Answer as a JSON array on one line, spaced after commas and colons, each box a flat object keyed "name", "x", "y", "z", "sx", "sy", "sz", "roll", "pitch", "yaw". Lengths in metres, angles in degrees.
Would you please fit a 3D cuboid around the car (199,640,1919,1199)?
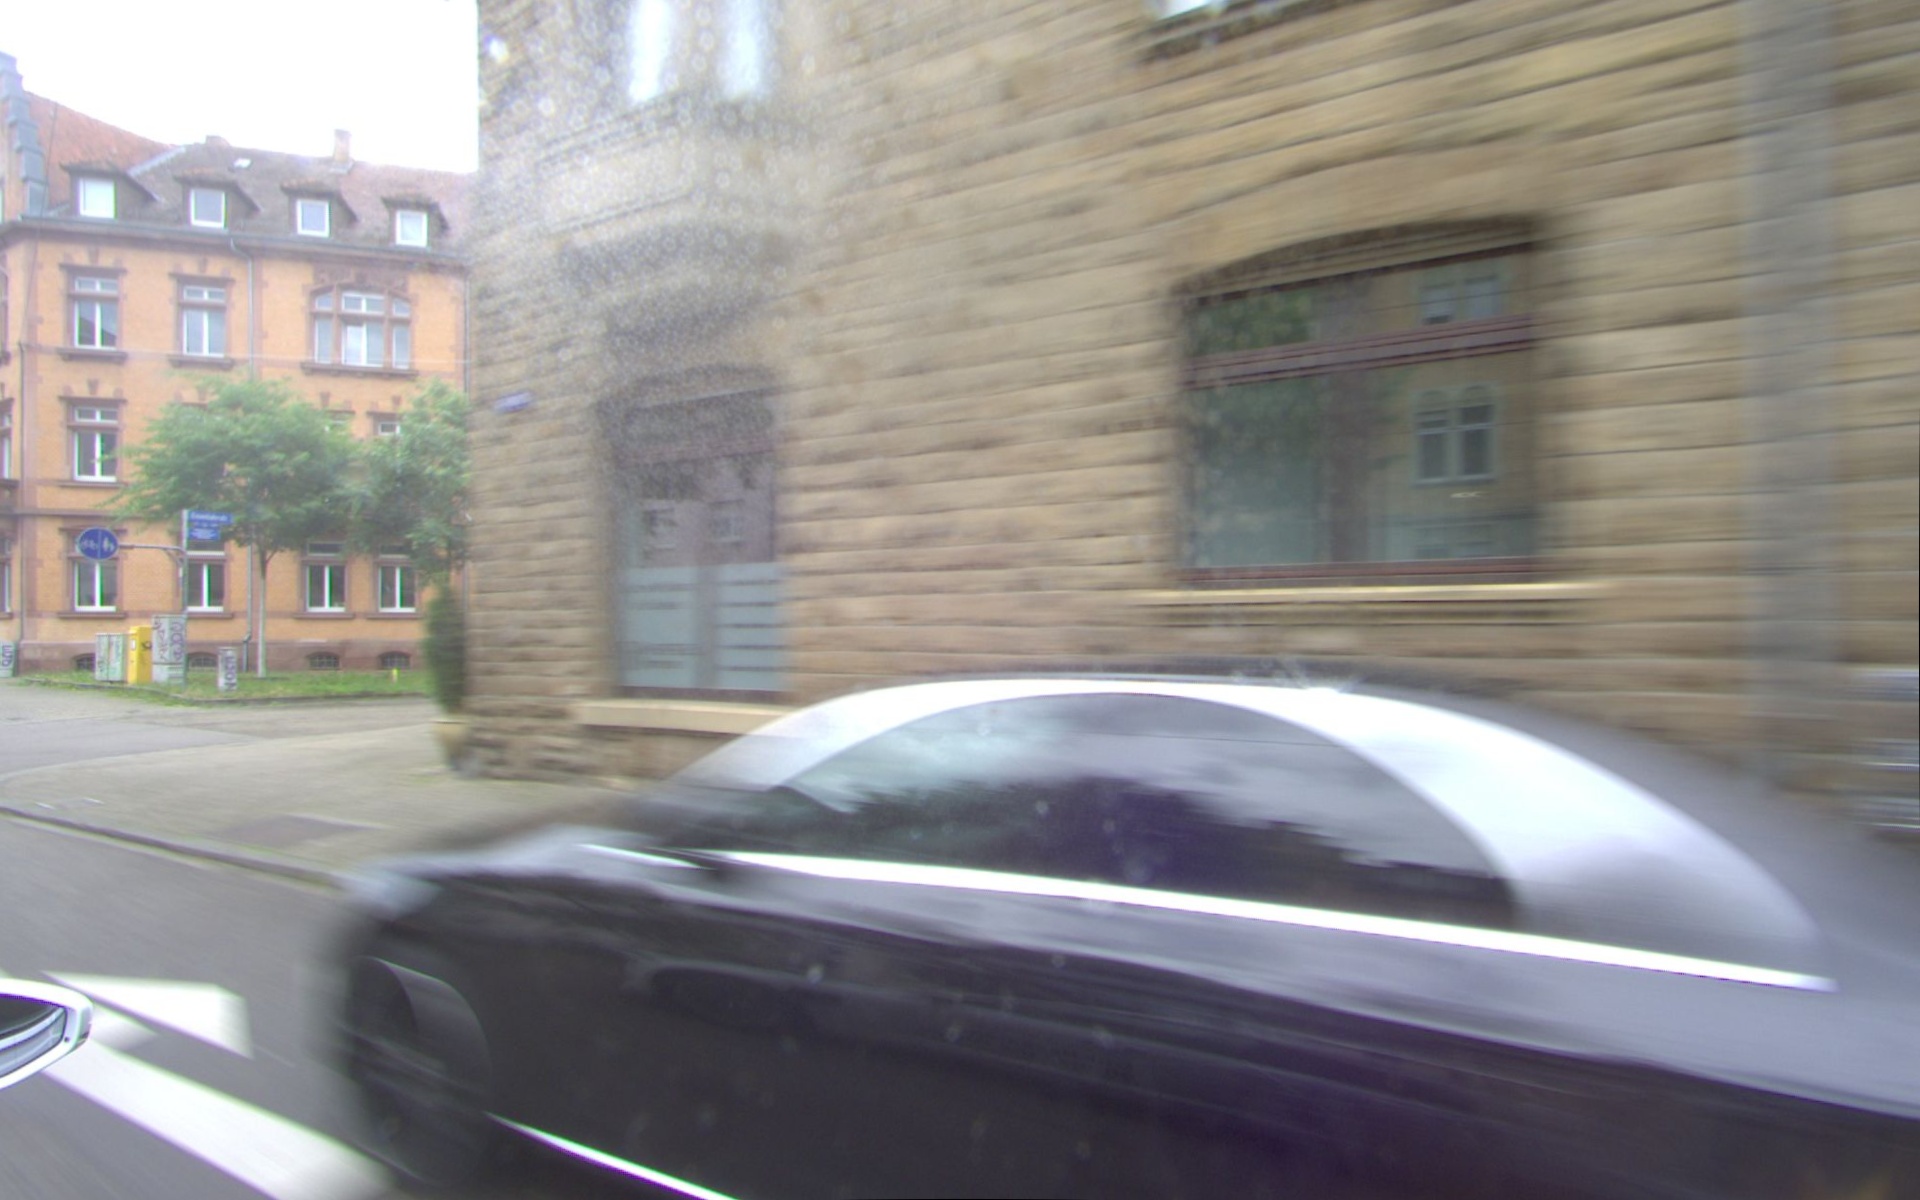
[{"name": "car", "x": 0.212, "y": 0.867, "z": 2.675, "sx": 4.932, "sy": 1.468, "sz": 1.822, "roll": -1, "pitch": -3, "yaw": 30}]
